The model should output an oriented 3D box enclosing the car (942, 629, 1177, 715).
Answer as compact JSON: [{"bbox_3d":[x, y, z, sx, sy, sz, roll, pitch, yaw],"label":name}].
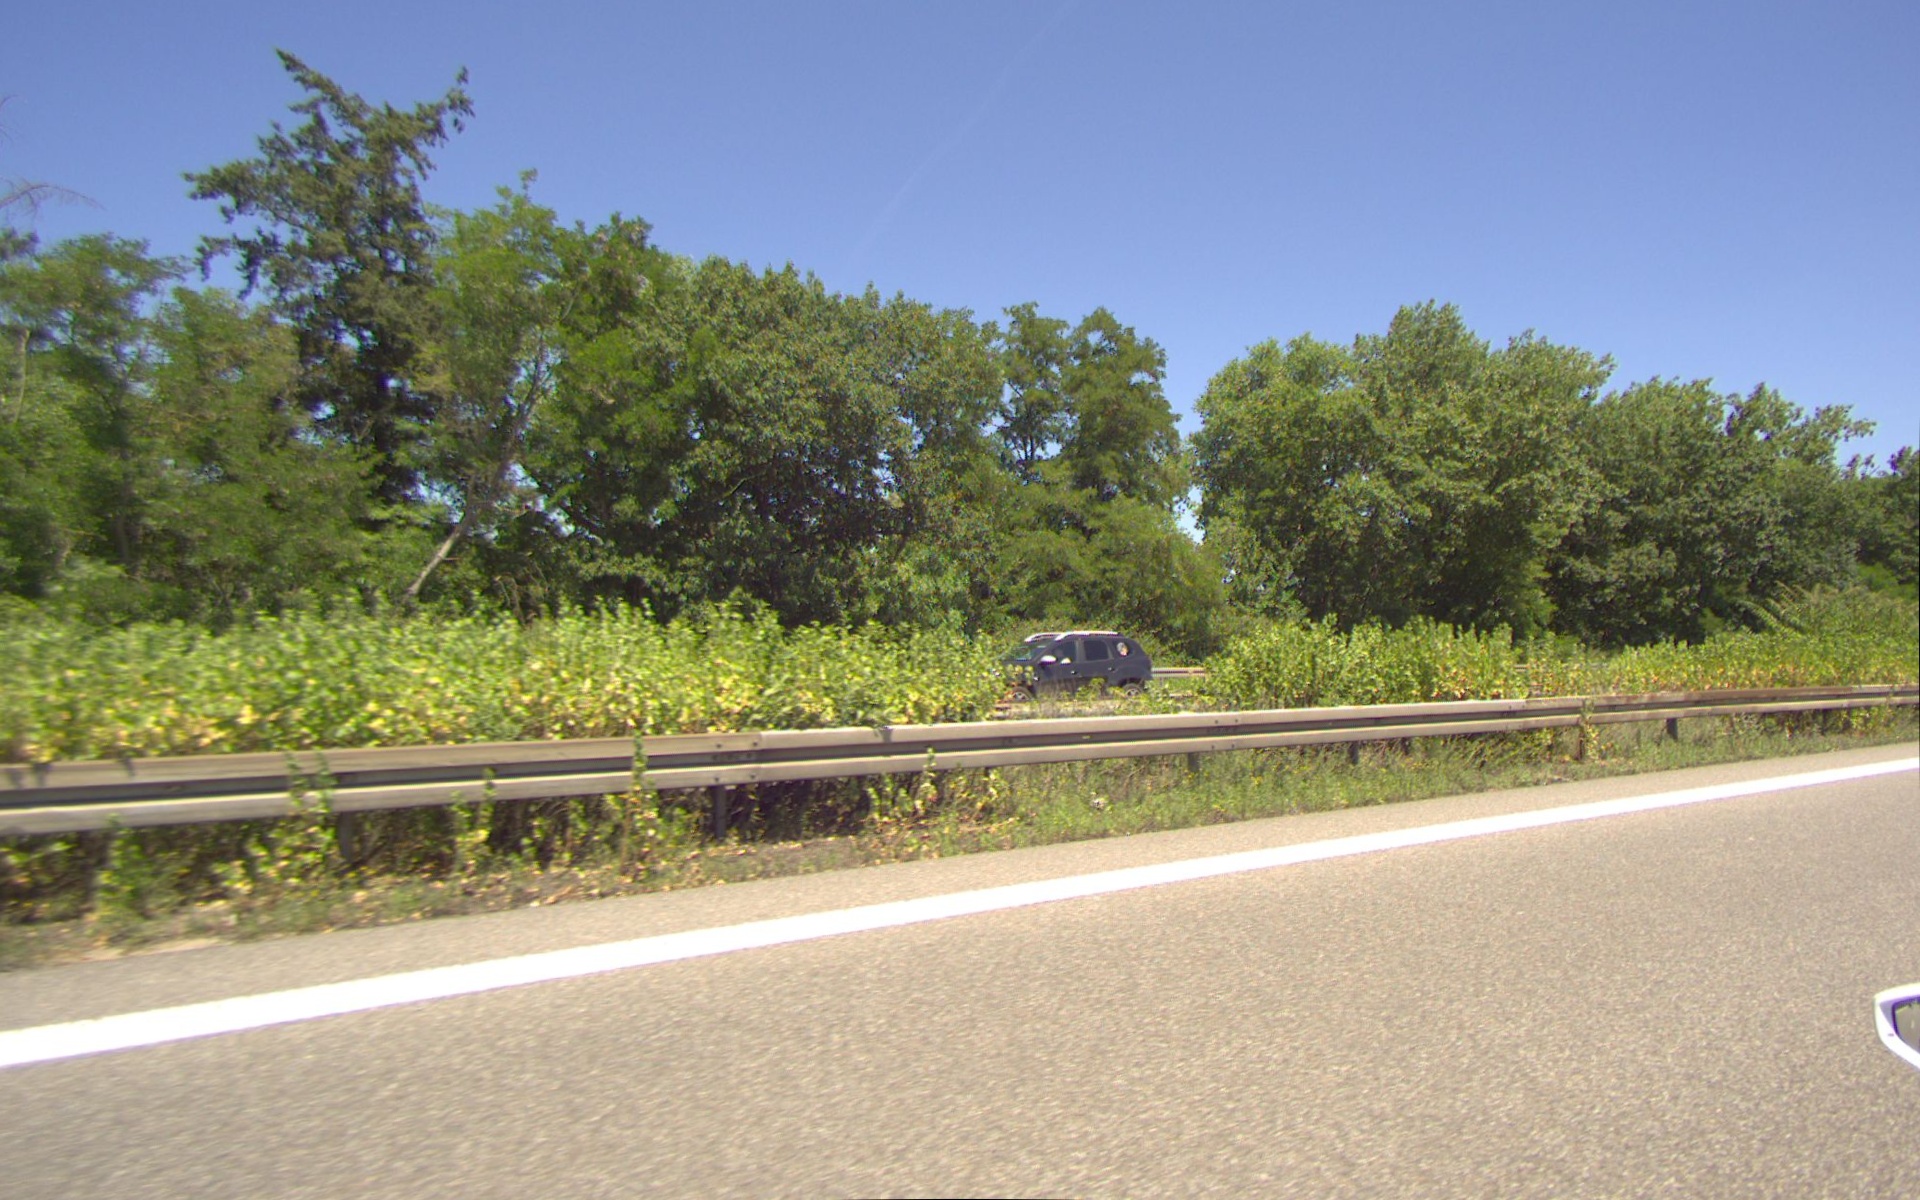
[{"bbox_3d":[1.944,1.317,19.298,4.278,1.420,1.778,1,0,-30],"label":"car"}]
